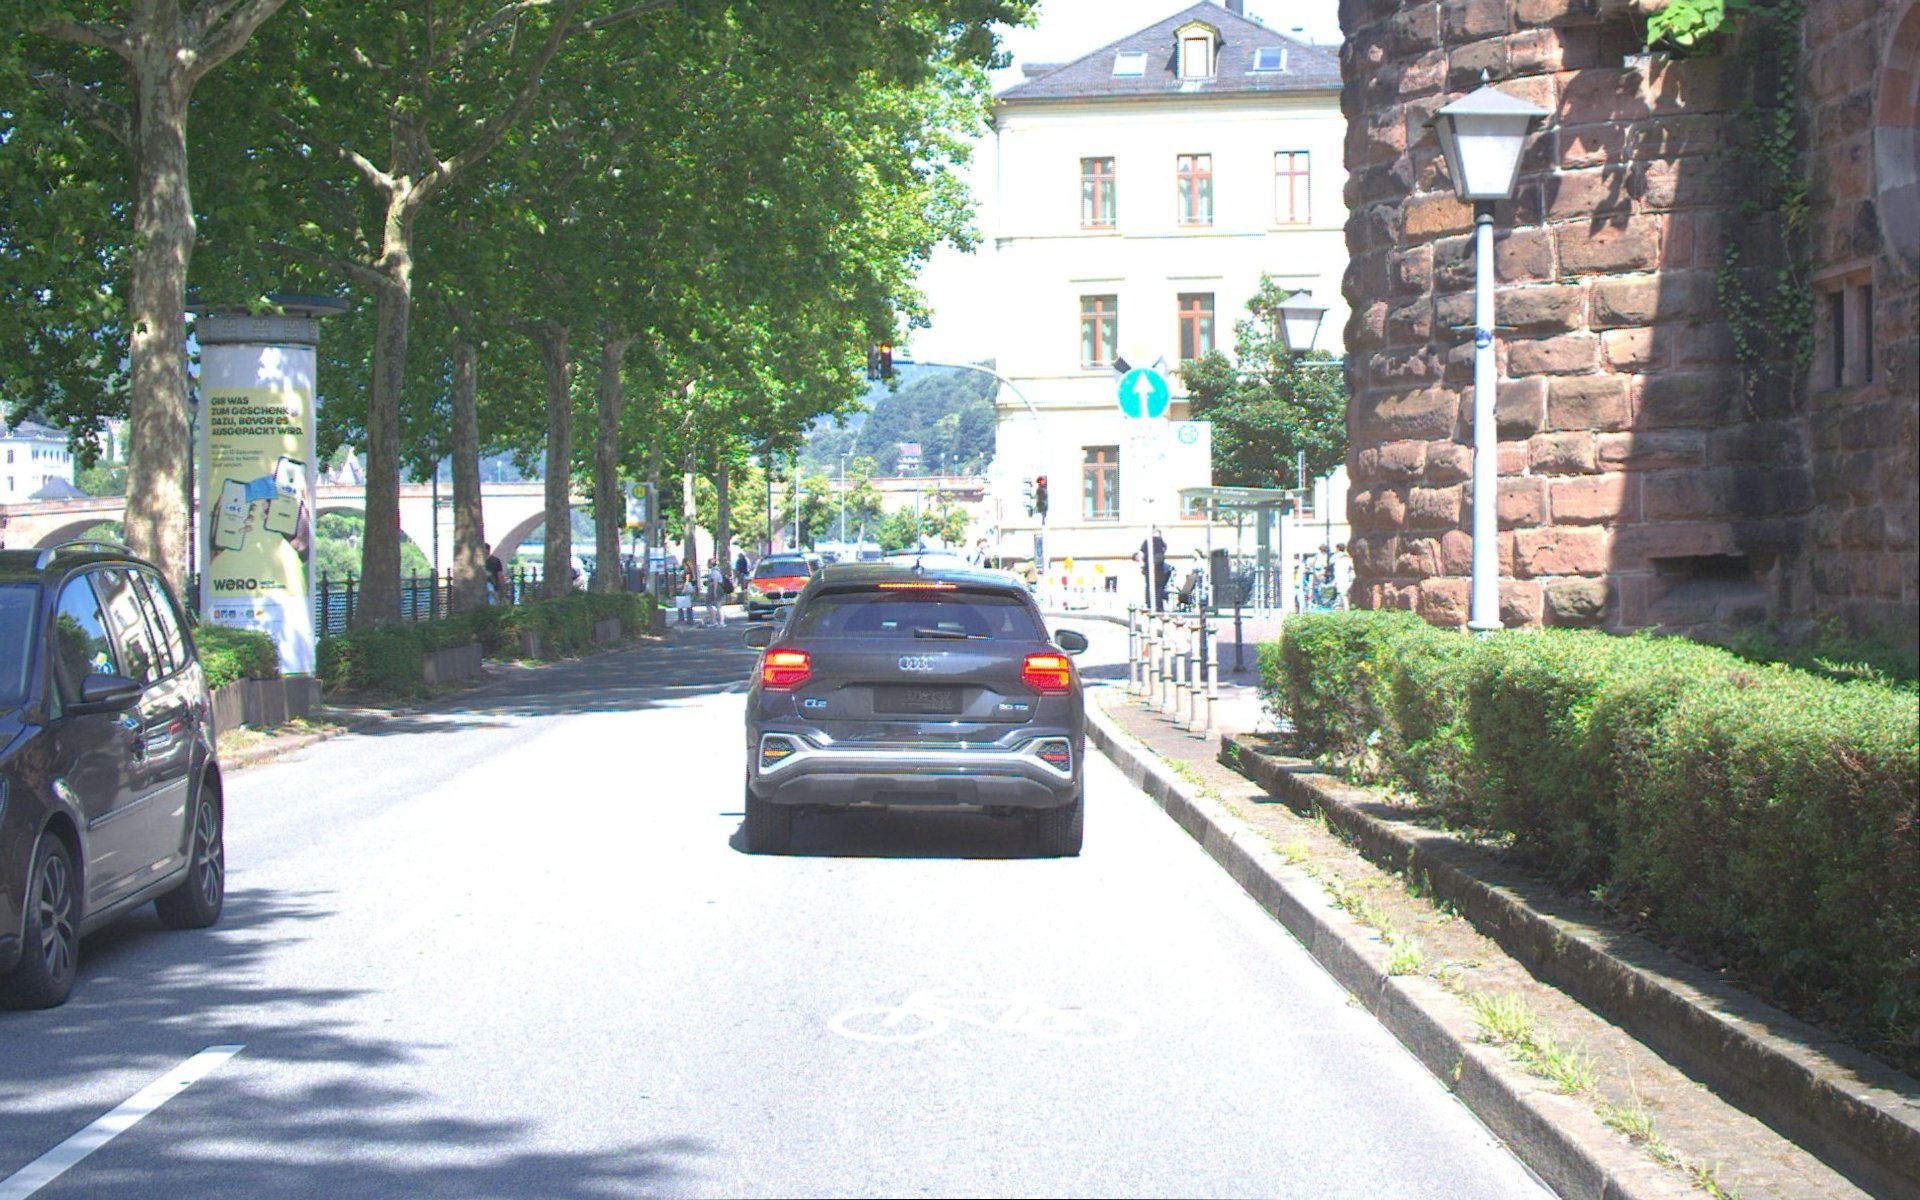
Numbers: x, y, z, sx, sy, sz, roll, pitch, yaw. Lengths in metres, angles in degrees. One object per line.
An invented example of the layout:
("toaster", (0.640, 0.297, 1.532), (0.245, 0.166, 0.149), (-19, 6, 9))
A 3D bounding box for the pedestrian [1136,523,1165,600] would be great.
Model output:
("pedestrian", (4.033, -0.819, 72.923), (0.557, 1.627, 0.660), (1, 0, 1))

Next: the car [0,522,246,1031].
("car", (-4.005, 0.563, 12.955), (1.763, 1.642, 4.090), (-1, 1, 0))

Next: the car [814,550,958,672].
("car", (-0.937, 0.116, 45.031), (1.801, 1.518, 3.716), (0, 1, 0))

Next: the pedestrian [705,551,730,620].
("pedestrian", (-5.781, -0.355, 81.907), (0.517, 1.632, 0.439), (-1, 1, -7))

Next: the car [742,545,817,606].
("car", (-4.613, -0.641, 88.194), (1.615, 1.518, 3.476), (-1, 1, 1))

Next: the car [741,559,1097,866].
("car", (-0.254, 0.544, 19.052), (1.748, 1.489, 3.629), (1, 1, -2))

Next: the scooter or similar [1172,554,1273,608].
("scooter or similar", (4.993, -0.360, 65.447), (1.845, 0.960, 0.429), (2, 0, -1))

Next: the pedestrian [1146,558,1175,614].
("pedestrian", (4.311, -0.303, 73.963), (0.546, 1.197, 0.522), (2, 0, 1))

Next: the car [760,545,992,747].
("car", (-0.670, 0.337, 29.165), (1.801, 1.557, 3.716), (-1, 1, 0))

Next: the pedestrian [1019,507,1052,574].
("pedestrian", (1.764, -1.390, 80.657), (0.747, 1.552, 0.588), (1, 0, 1))

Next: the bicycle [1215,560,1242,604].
("bicycle", (5.939, -0.400, 76.051), (0.450, 0.971, 1.400), (2, 0, 0))
